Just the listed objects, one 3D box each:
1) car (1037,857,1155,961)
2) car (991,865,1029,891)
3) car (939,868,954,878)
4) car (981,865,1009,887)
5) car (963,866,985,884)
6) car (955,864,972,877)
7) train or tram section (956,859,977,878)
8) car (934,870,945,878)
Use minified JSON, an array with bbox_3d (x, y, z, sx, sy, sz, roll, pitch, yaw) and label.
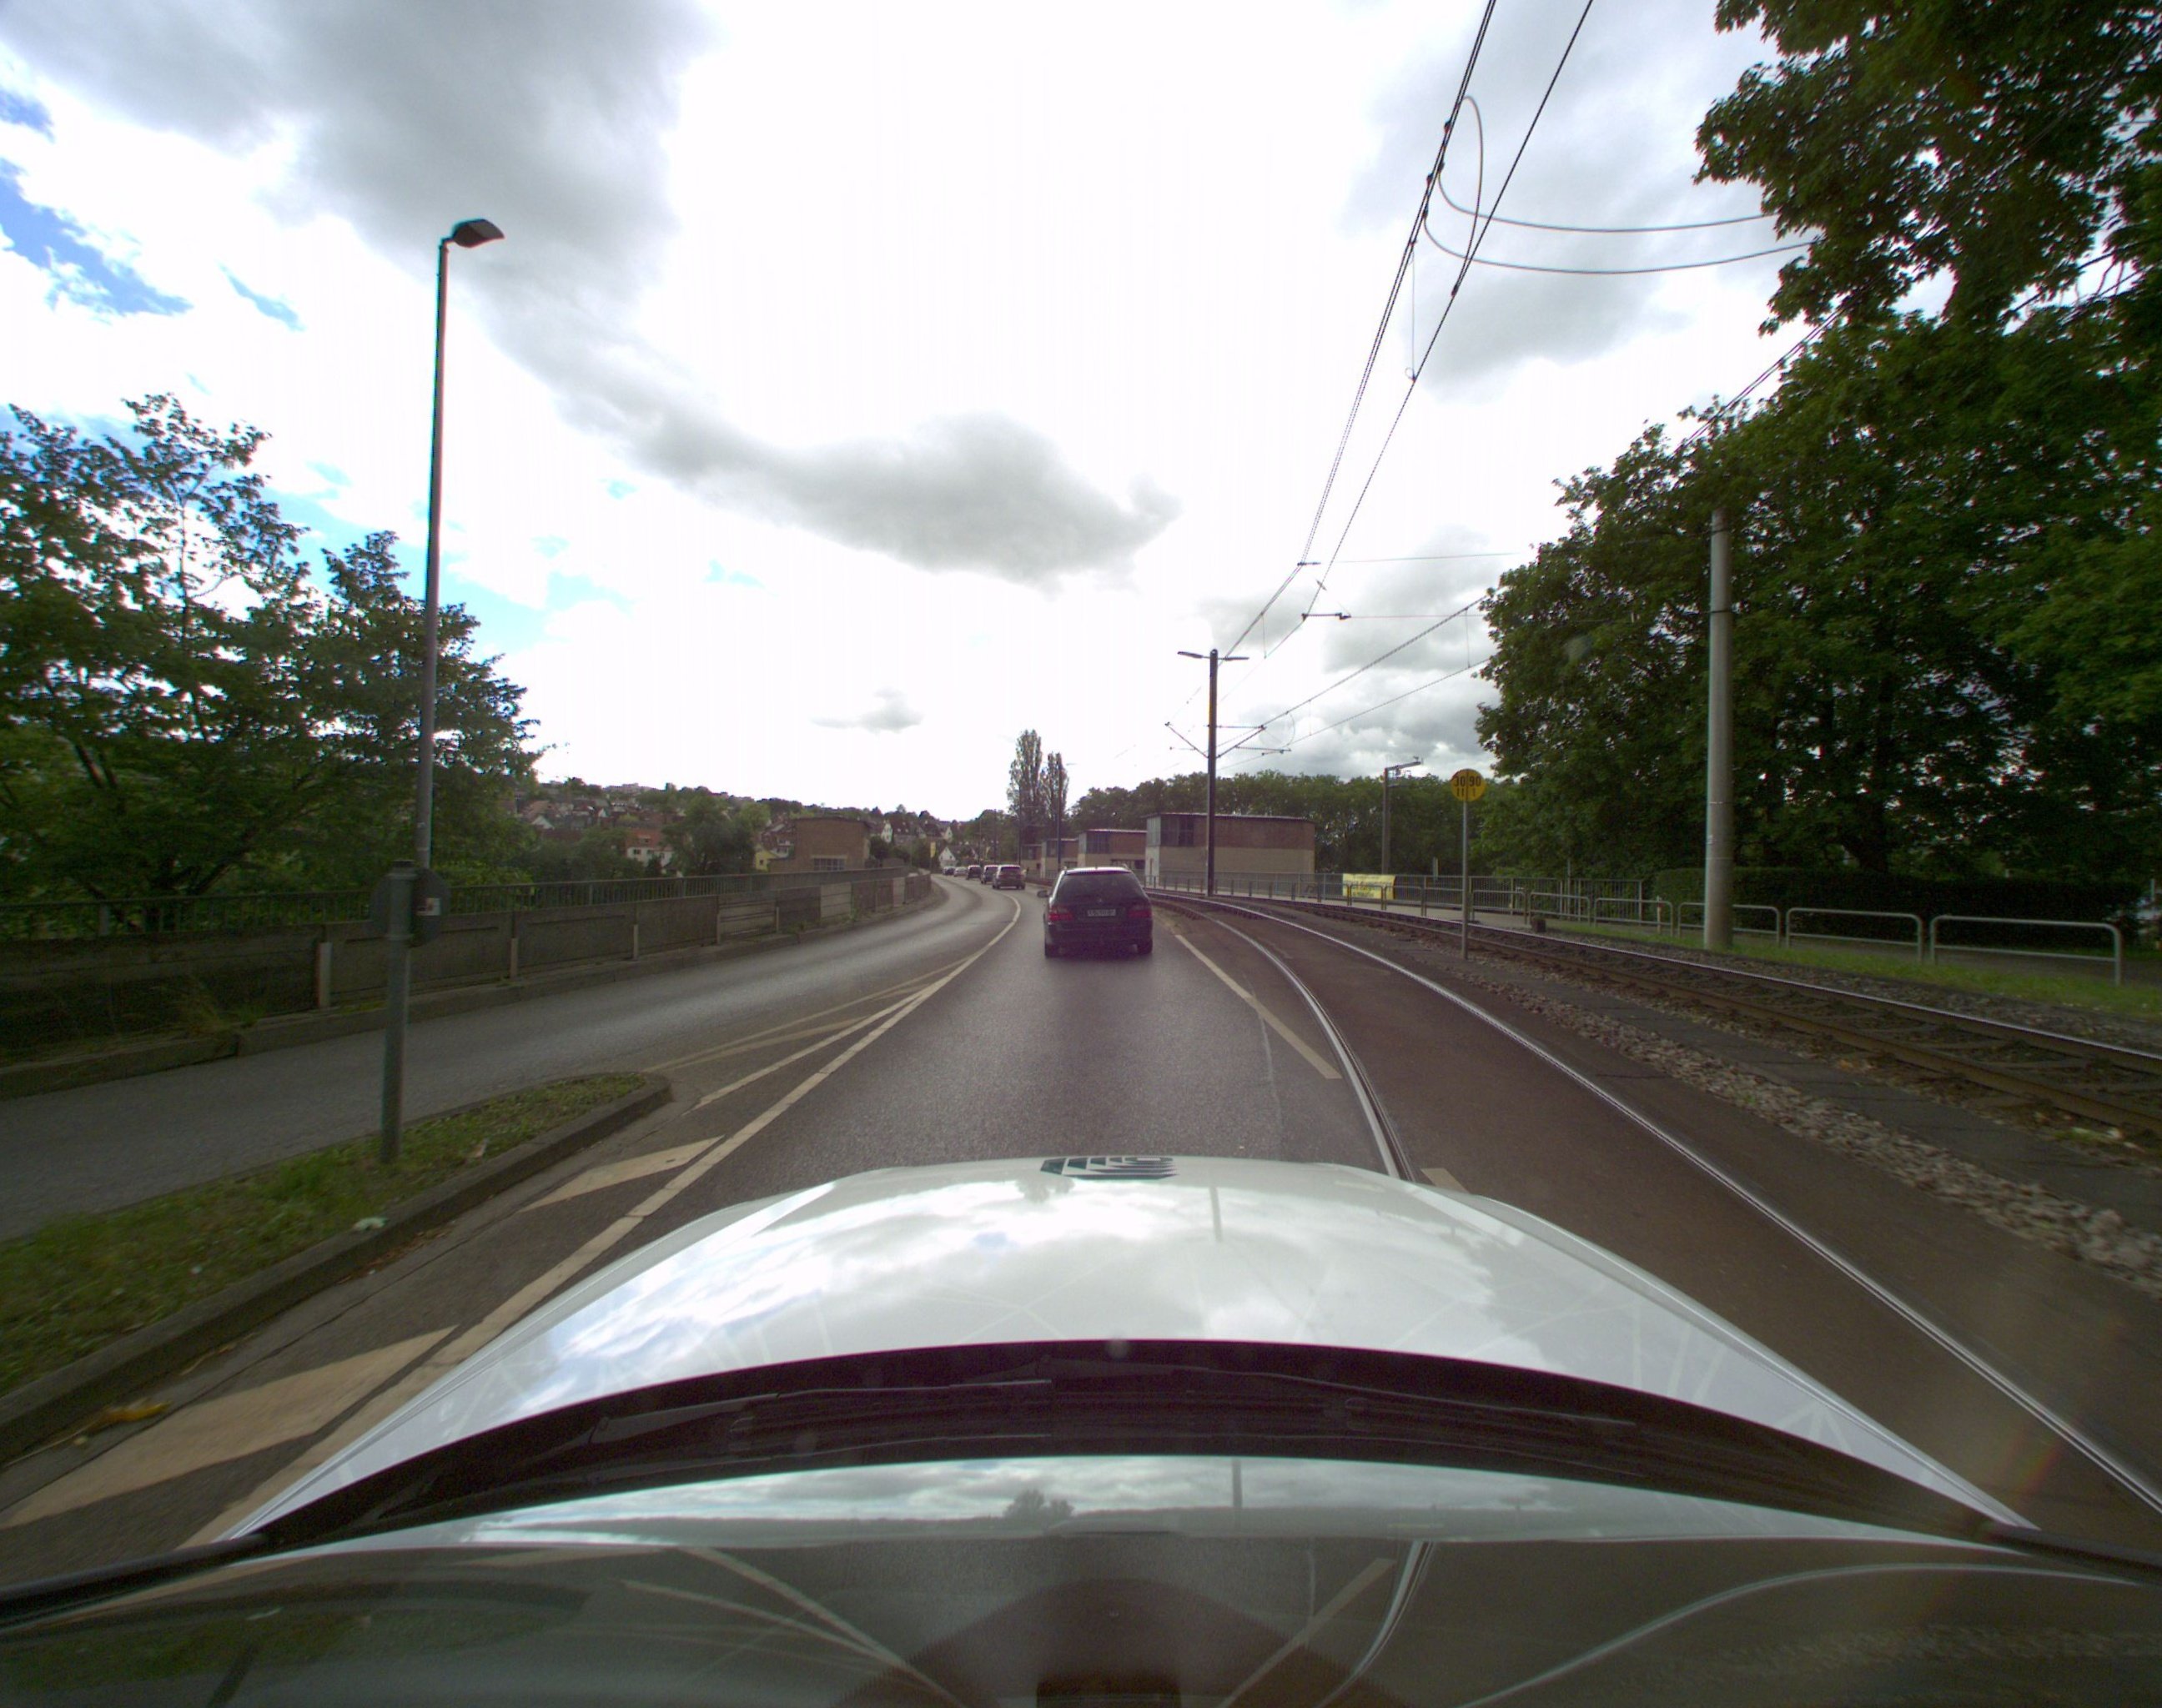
[{"bbox_3d":[0.334,0.860,14.708,1.752,1.515,4.445,-2,0,2],"label":"car"},{"bbox_3d":[-4.493,1.486,50.927,1.772,1.555,4.220,0,-1,-13],"label":"car"},{"bbox_3d":[-21.958,3.085,133.196,1.996,1.571,4.882,2,-1,-14],"label":"car"},{"bbox_3d":[-6.949,1.721,65.498,1.993,1.564,4.981,-2,0,-9],"label":"car"},{"bbox_3d":[-11.034,2.167,83.862,1.994,1.672,4.523,-1,0,-11],"label":"car"},{"bbox_3d":[-15.851,2.206,109.728,1.995,1.571,4.885,1,-1,-12],"label":"car"},{"bbox_3d":[-23.484,2.957,166.093,2.884,3.509,18.587,-1,-1,-12],"label":"train or tram section"},{"bbox_3d":[-26.537,3.742,152.389,1.520,1.331,4.132,2,-1,-18],"label":"car"}]
